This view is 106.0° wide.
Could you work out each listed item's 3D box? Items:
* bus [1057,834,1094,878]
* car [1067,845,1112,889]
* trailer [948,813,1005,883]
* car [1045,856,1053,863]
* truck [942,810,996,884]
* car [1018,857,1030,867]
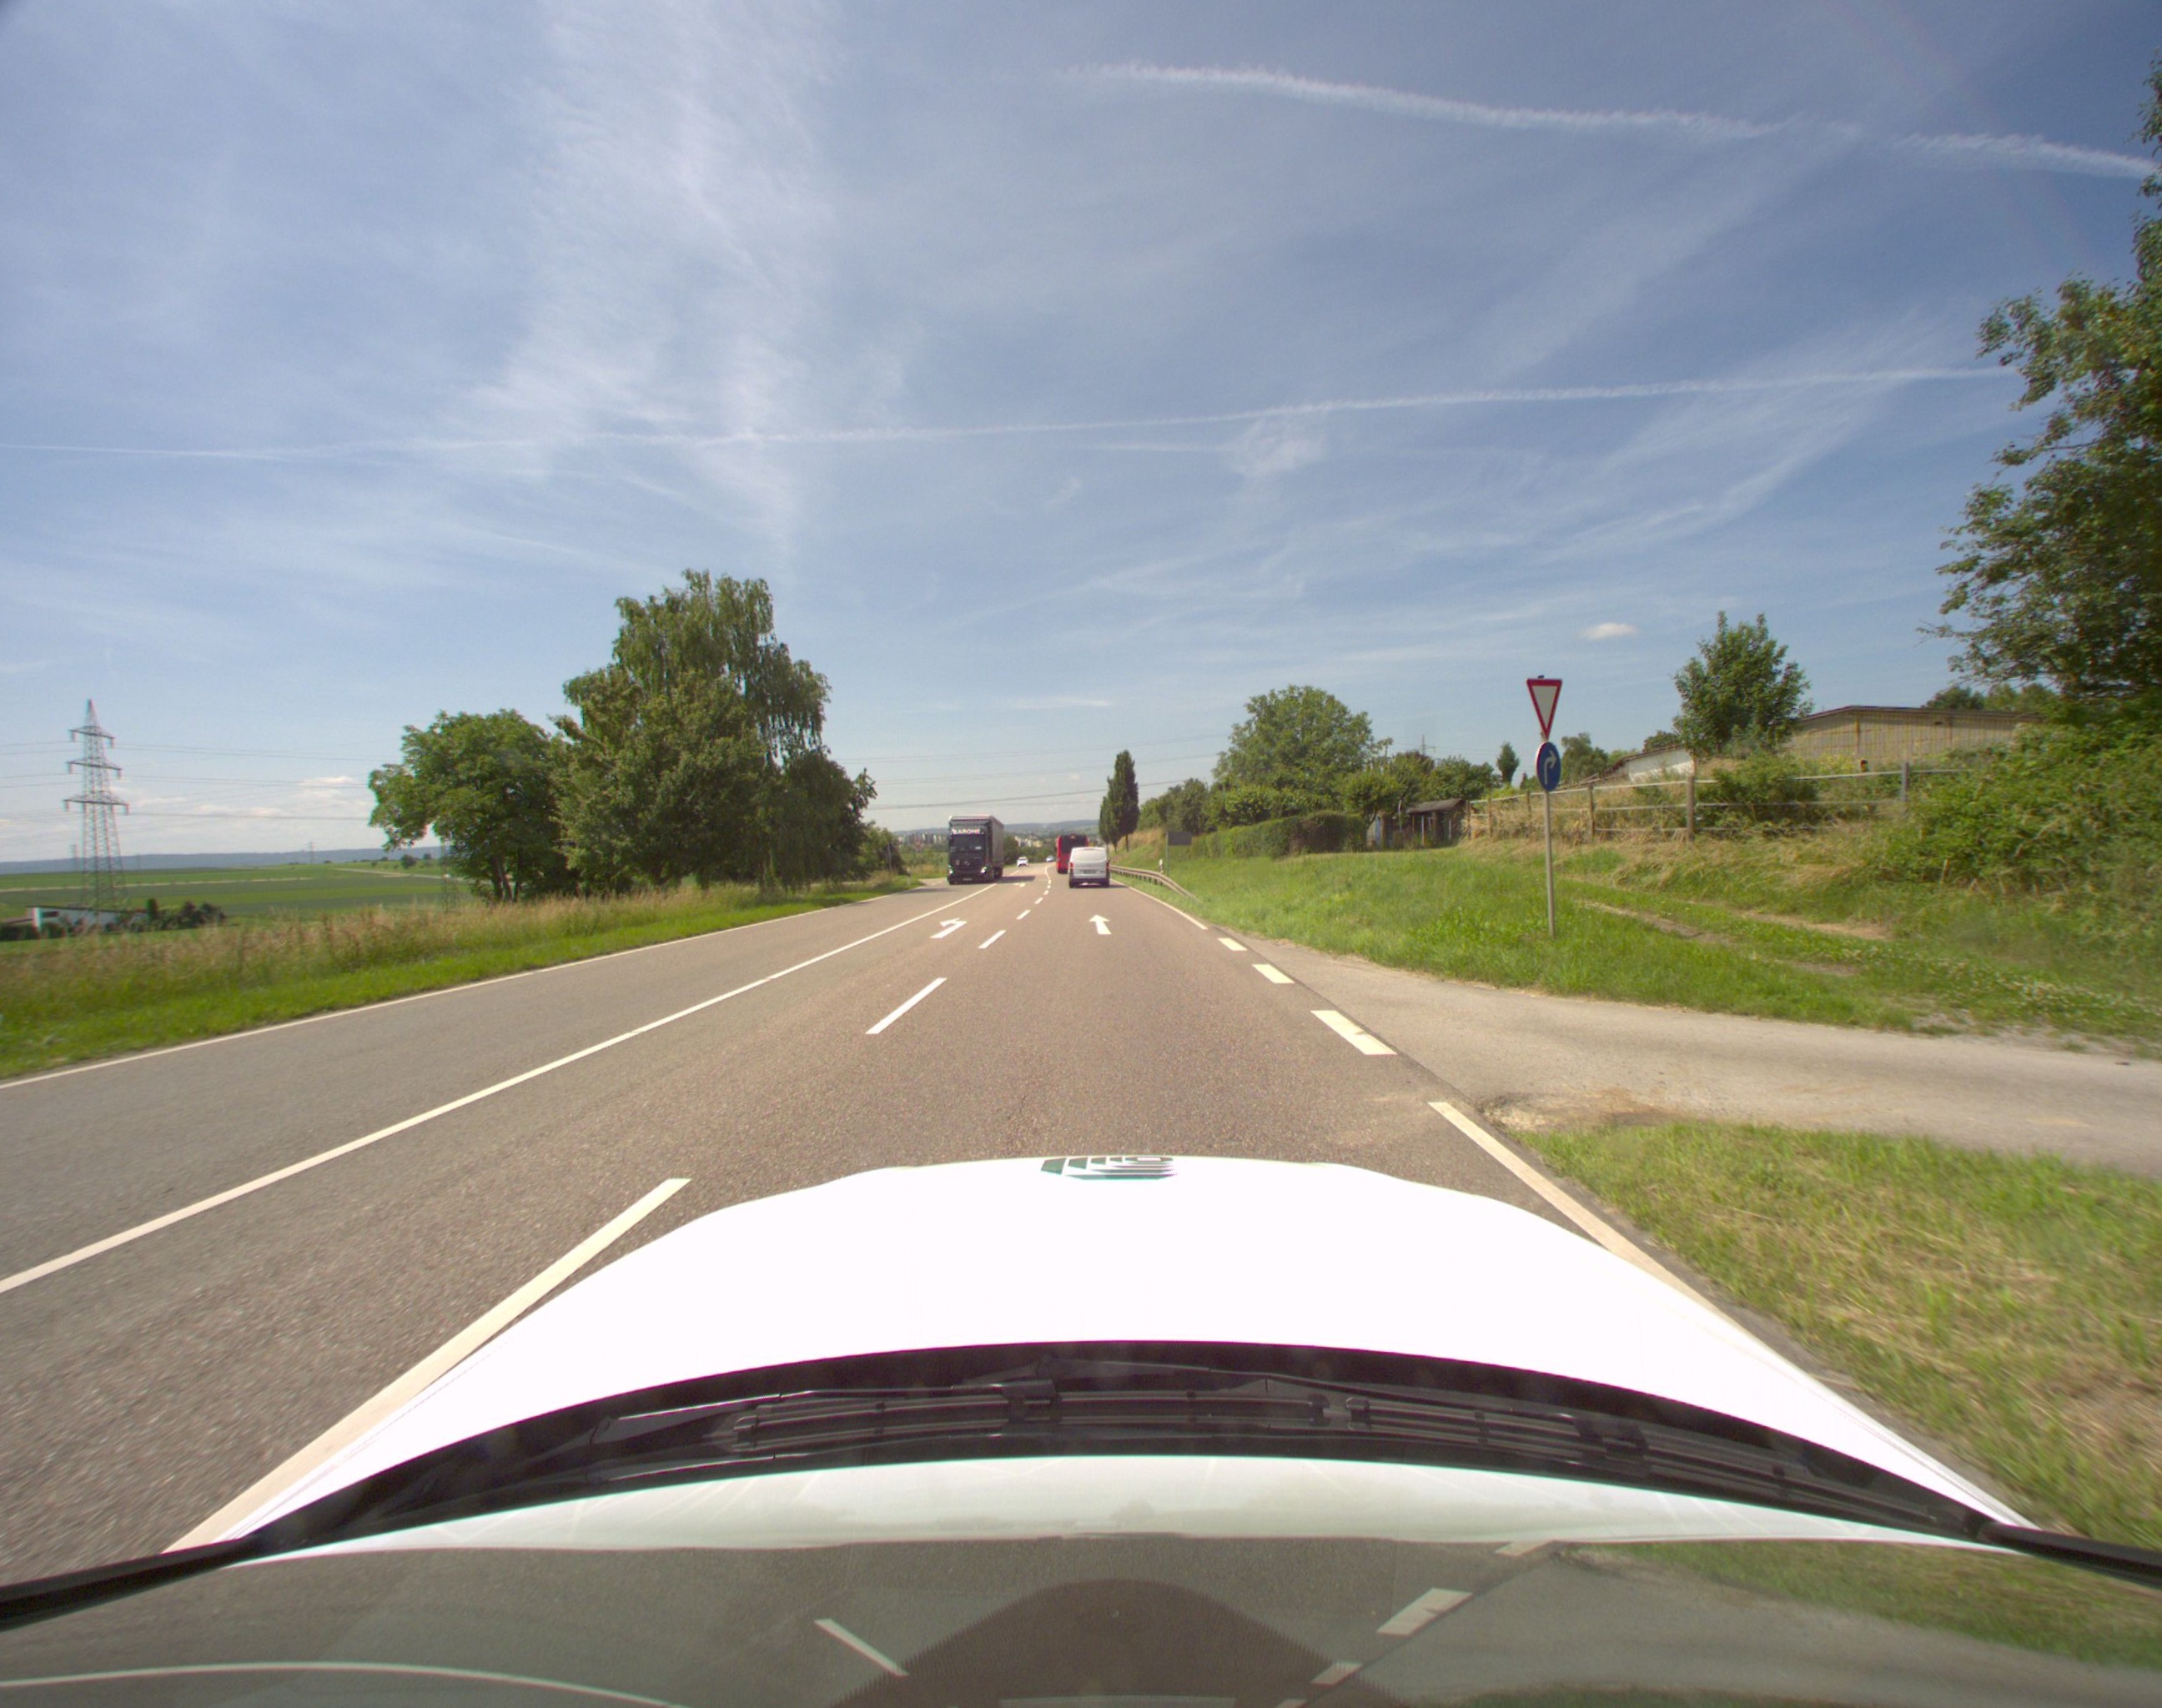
[{"bbox_3d":[-0.648,-0.010,72.932,2.740,3.352,13.213,-4,2,-2],"label":"bus"},{"bbox_3d":[0.456,0.567,38.896,1.916,1.889,4.002,-3,0,2],"label":"car"},{"bbox_3d":[-6.891,-0.371,55.719,2.586,4.142,13.727,-2,0,-2],"label":"trailer"},{"bbox_3d":[-8.225,1.399,210.080,1.761,1.687,3.825,-3,0,-1],"label":"car"},{"bbox_3d":[-6.622,-0.392,48.892,2.579,4.104,5.437,-2,0,-2],"label":"truck"},{"bbox_3d":[-9.949,1.335,142.482,1.849,1.565,4.072,-3,0,-2],"label":"car"}]
